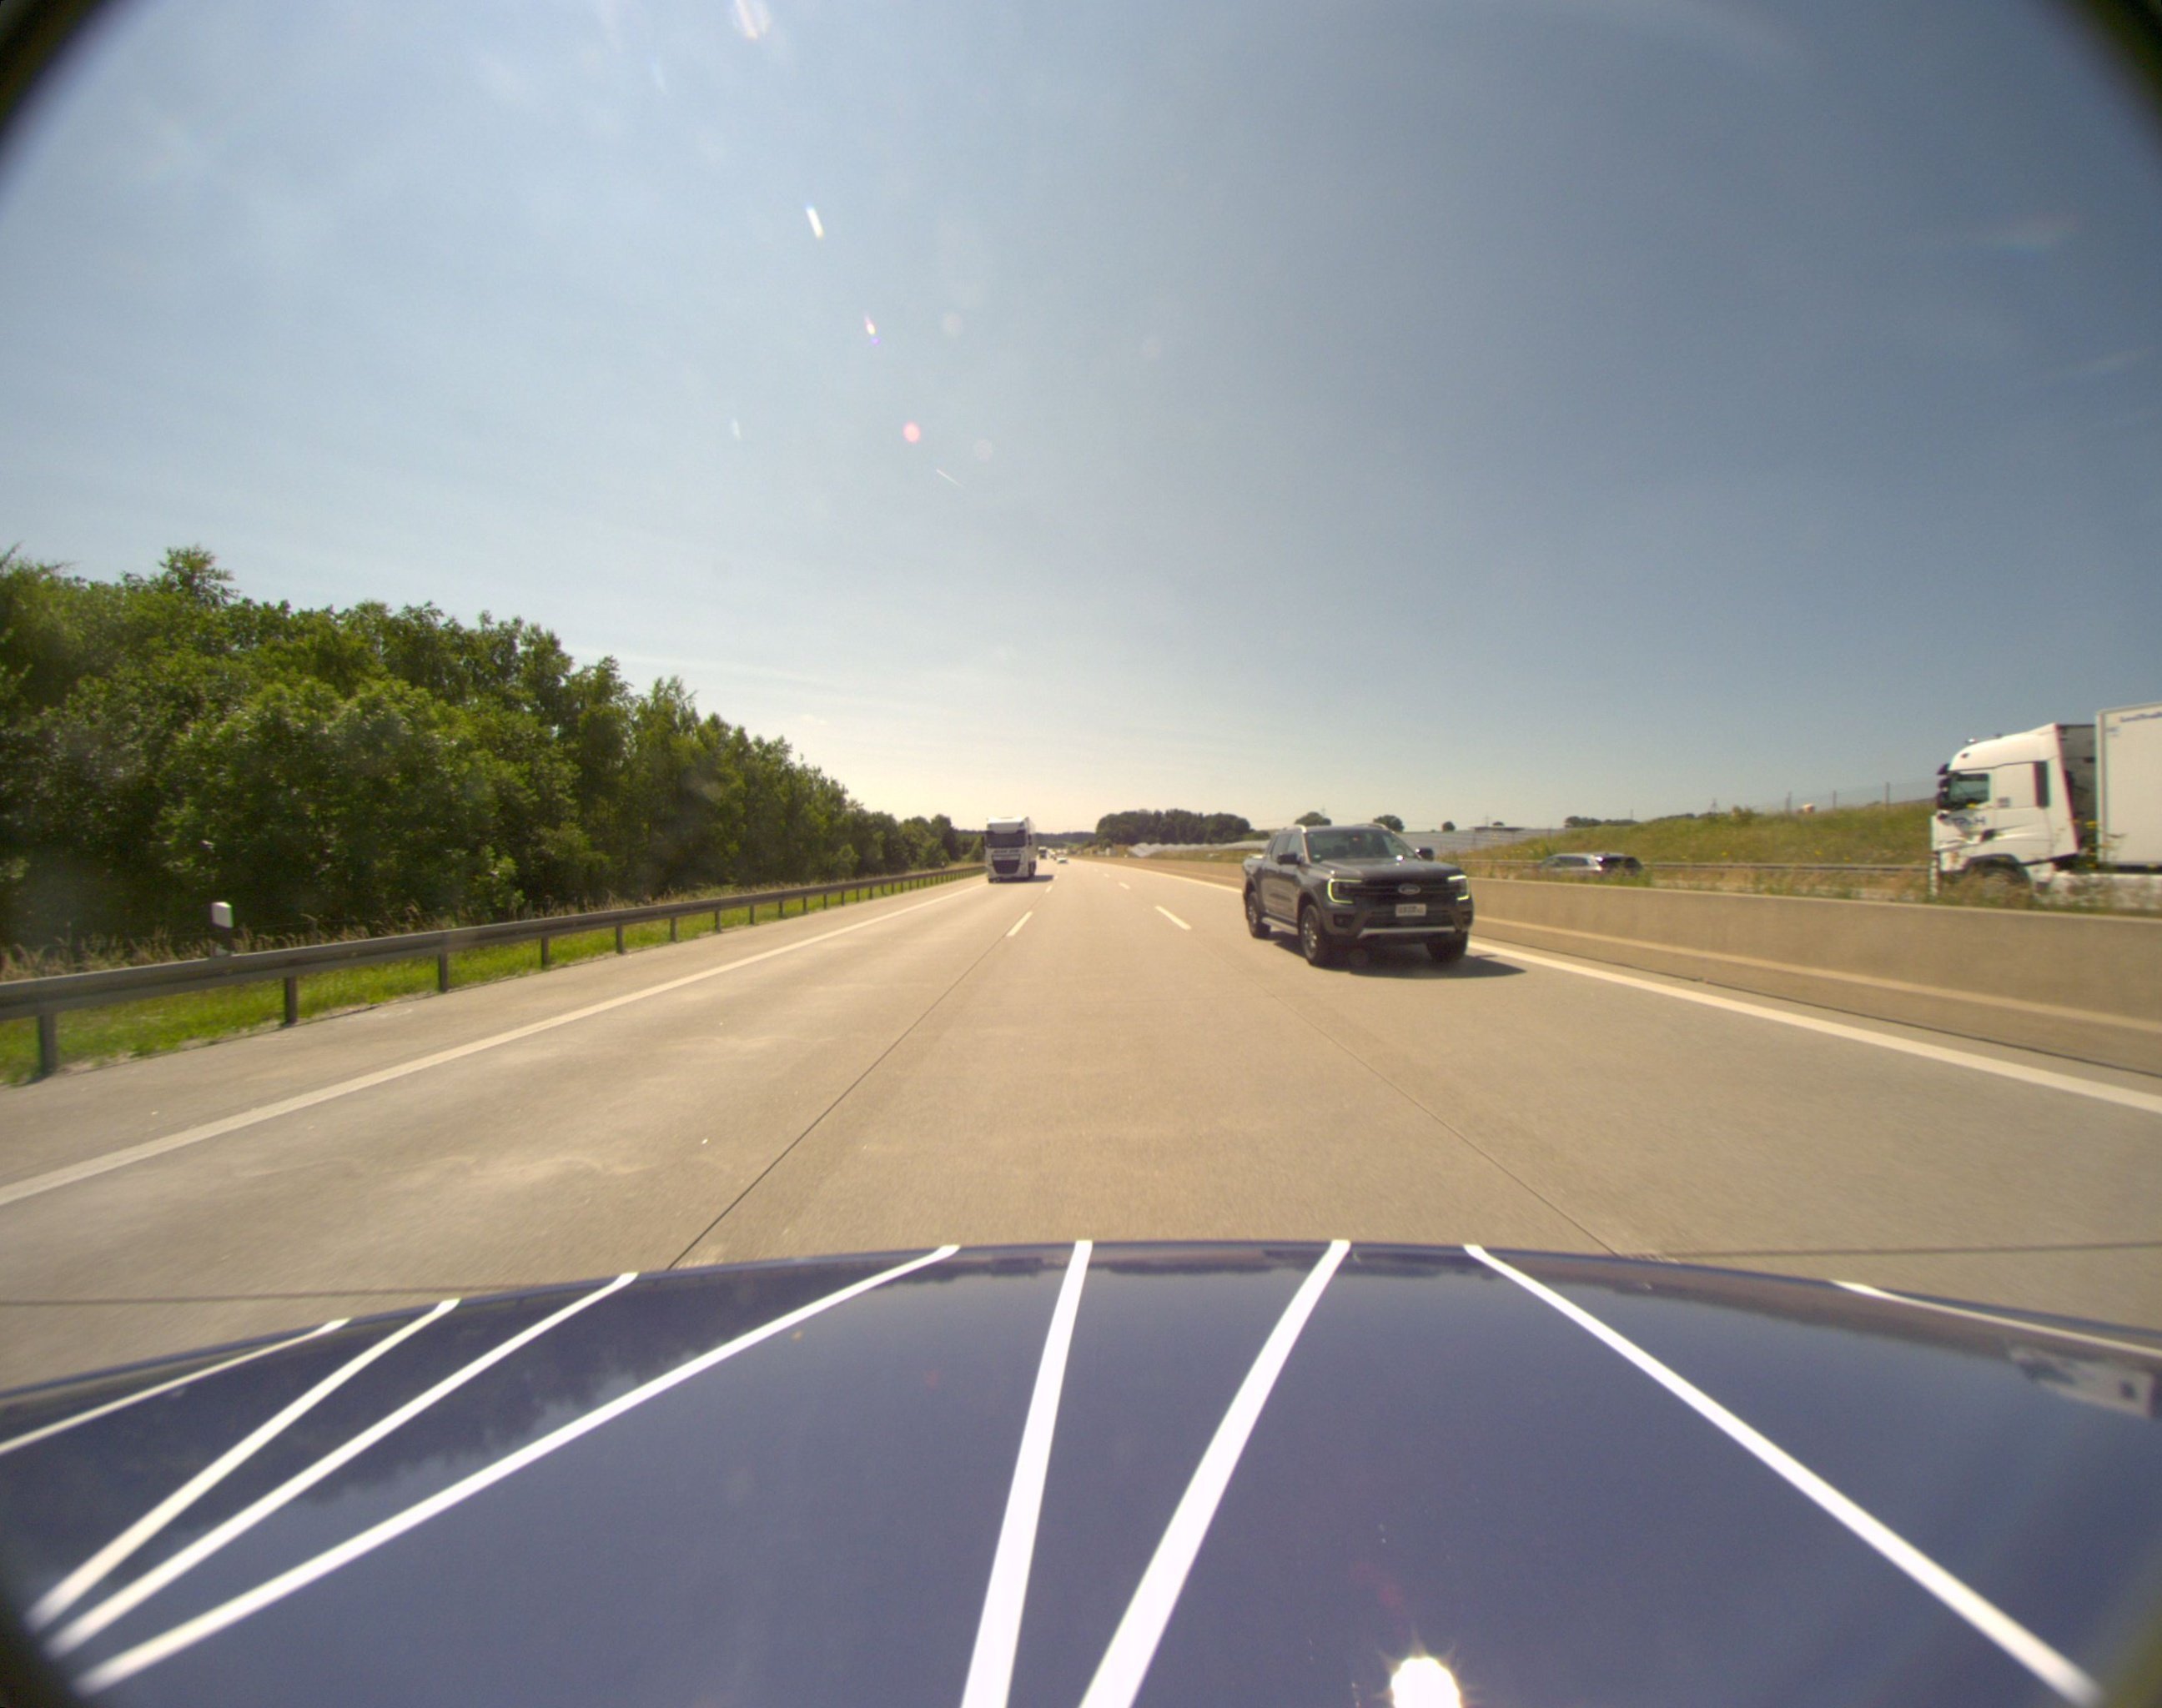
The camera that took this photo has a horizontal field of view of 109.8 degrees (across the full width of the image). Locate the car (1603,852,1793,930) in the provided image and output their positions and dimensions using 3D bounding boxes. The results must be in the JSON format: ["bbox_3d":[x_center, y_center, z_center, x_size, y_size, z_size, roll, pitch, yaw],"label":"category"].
[{"bbox_3d":[16.008,0.869,20.024,1.747,1.813,3.999,-1,0,0],"label":"car"}]

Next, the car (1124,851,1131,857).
[{"bbox_3d":[13.484,0.002,219.577,1.630,1.474,3.998,-2,1,-2],"label":"car"}]

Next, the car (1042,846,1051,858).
[{"bbox_3d":[-11.496,-0.614,255.259,2.766,4.029,10.849,-1,0,-2],"label":"car"}]

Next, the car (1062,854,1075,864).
[{"bbox_3d":[-2.148,0.811,129.391,2.065,1.472,5.067,-2,0,-3],"label":"car"}]

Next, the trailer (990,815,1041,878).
[{"bbox_3d":[-4.541,-0.513,55.257,2.860,4.019,12.710,-2,0,-1],"label":"trailer"}]

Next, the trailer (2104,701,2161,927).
[{"bbox_3d":[20.728,-0.705,7.252,3.013,4.037,14.177,-1,0,1],"label":"trailer"}]

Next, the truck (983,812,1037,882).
[{"bbox_3d":[-4.380,-0.431,47.900,2.819,4.064,5.797,-2,1,-1],"label":"truck"}]

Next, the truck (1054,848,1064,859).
[{"bbox_3d":[-5.521,-0.152,190.904,2.263,2.461,6.613,-2,0,-2],"label":"truck"}]

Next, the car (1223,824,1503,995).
[{"bbox_3d":[3.762,0.593,11.768,1.998,1.836,6.529,-2,1,1],"label":"car"}]

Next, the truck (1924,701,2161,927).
[{"bbox_3d":[20.808,-0.746,13.999,2.998,4.037,6.869,-1,0,1],"label":"truck"}]
